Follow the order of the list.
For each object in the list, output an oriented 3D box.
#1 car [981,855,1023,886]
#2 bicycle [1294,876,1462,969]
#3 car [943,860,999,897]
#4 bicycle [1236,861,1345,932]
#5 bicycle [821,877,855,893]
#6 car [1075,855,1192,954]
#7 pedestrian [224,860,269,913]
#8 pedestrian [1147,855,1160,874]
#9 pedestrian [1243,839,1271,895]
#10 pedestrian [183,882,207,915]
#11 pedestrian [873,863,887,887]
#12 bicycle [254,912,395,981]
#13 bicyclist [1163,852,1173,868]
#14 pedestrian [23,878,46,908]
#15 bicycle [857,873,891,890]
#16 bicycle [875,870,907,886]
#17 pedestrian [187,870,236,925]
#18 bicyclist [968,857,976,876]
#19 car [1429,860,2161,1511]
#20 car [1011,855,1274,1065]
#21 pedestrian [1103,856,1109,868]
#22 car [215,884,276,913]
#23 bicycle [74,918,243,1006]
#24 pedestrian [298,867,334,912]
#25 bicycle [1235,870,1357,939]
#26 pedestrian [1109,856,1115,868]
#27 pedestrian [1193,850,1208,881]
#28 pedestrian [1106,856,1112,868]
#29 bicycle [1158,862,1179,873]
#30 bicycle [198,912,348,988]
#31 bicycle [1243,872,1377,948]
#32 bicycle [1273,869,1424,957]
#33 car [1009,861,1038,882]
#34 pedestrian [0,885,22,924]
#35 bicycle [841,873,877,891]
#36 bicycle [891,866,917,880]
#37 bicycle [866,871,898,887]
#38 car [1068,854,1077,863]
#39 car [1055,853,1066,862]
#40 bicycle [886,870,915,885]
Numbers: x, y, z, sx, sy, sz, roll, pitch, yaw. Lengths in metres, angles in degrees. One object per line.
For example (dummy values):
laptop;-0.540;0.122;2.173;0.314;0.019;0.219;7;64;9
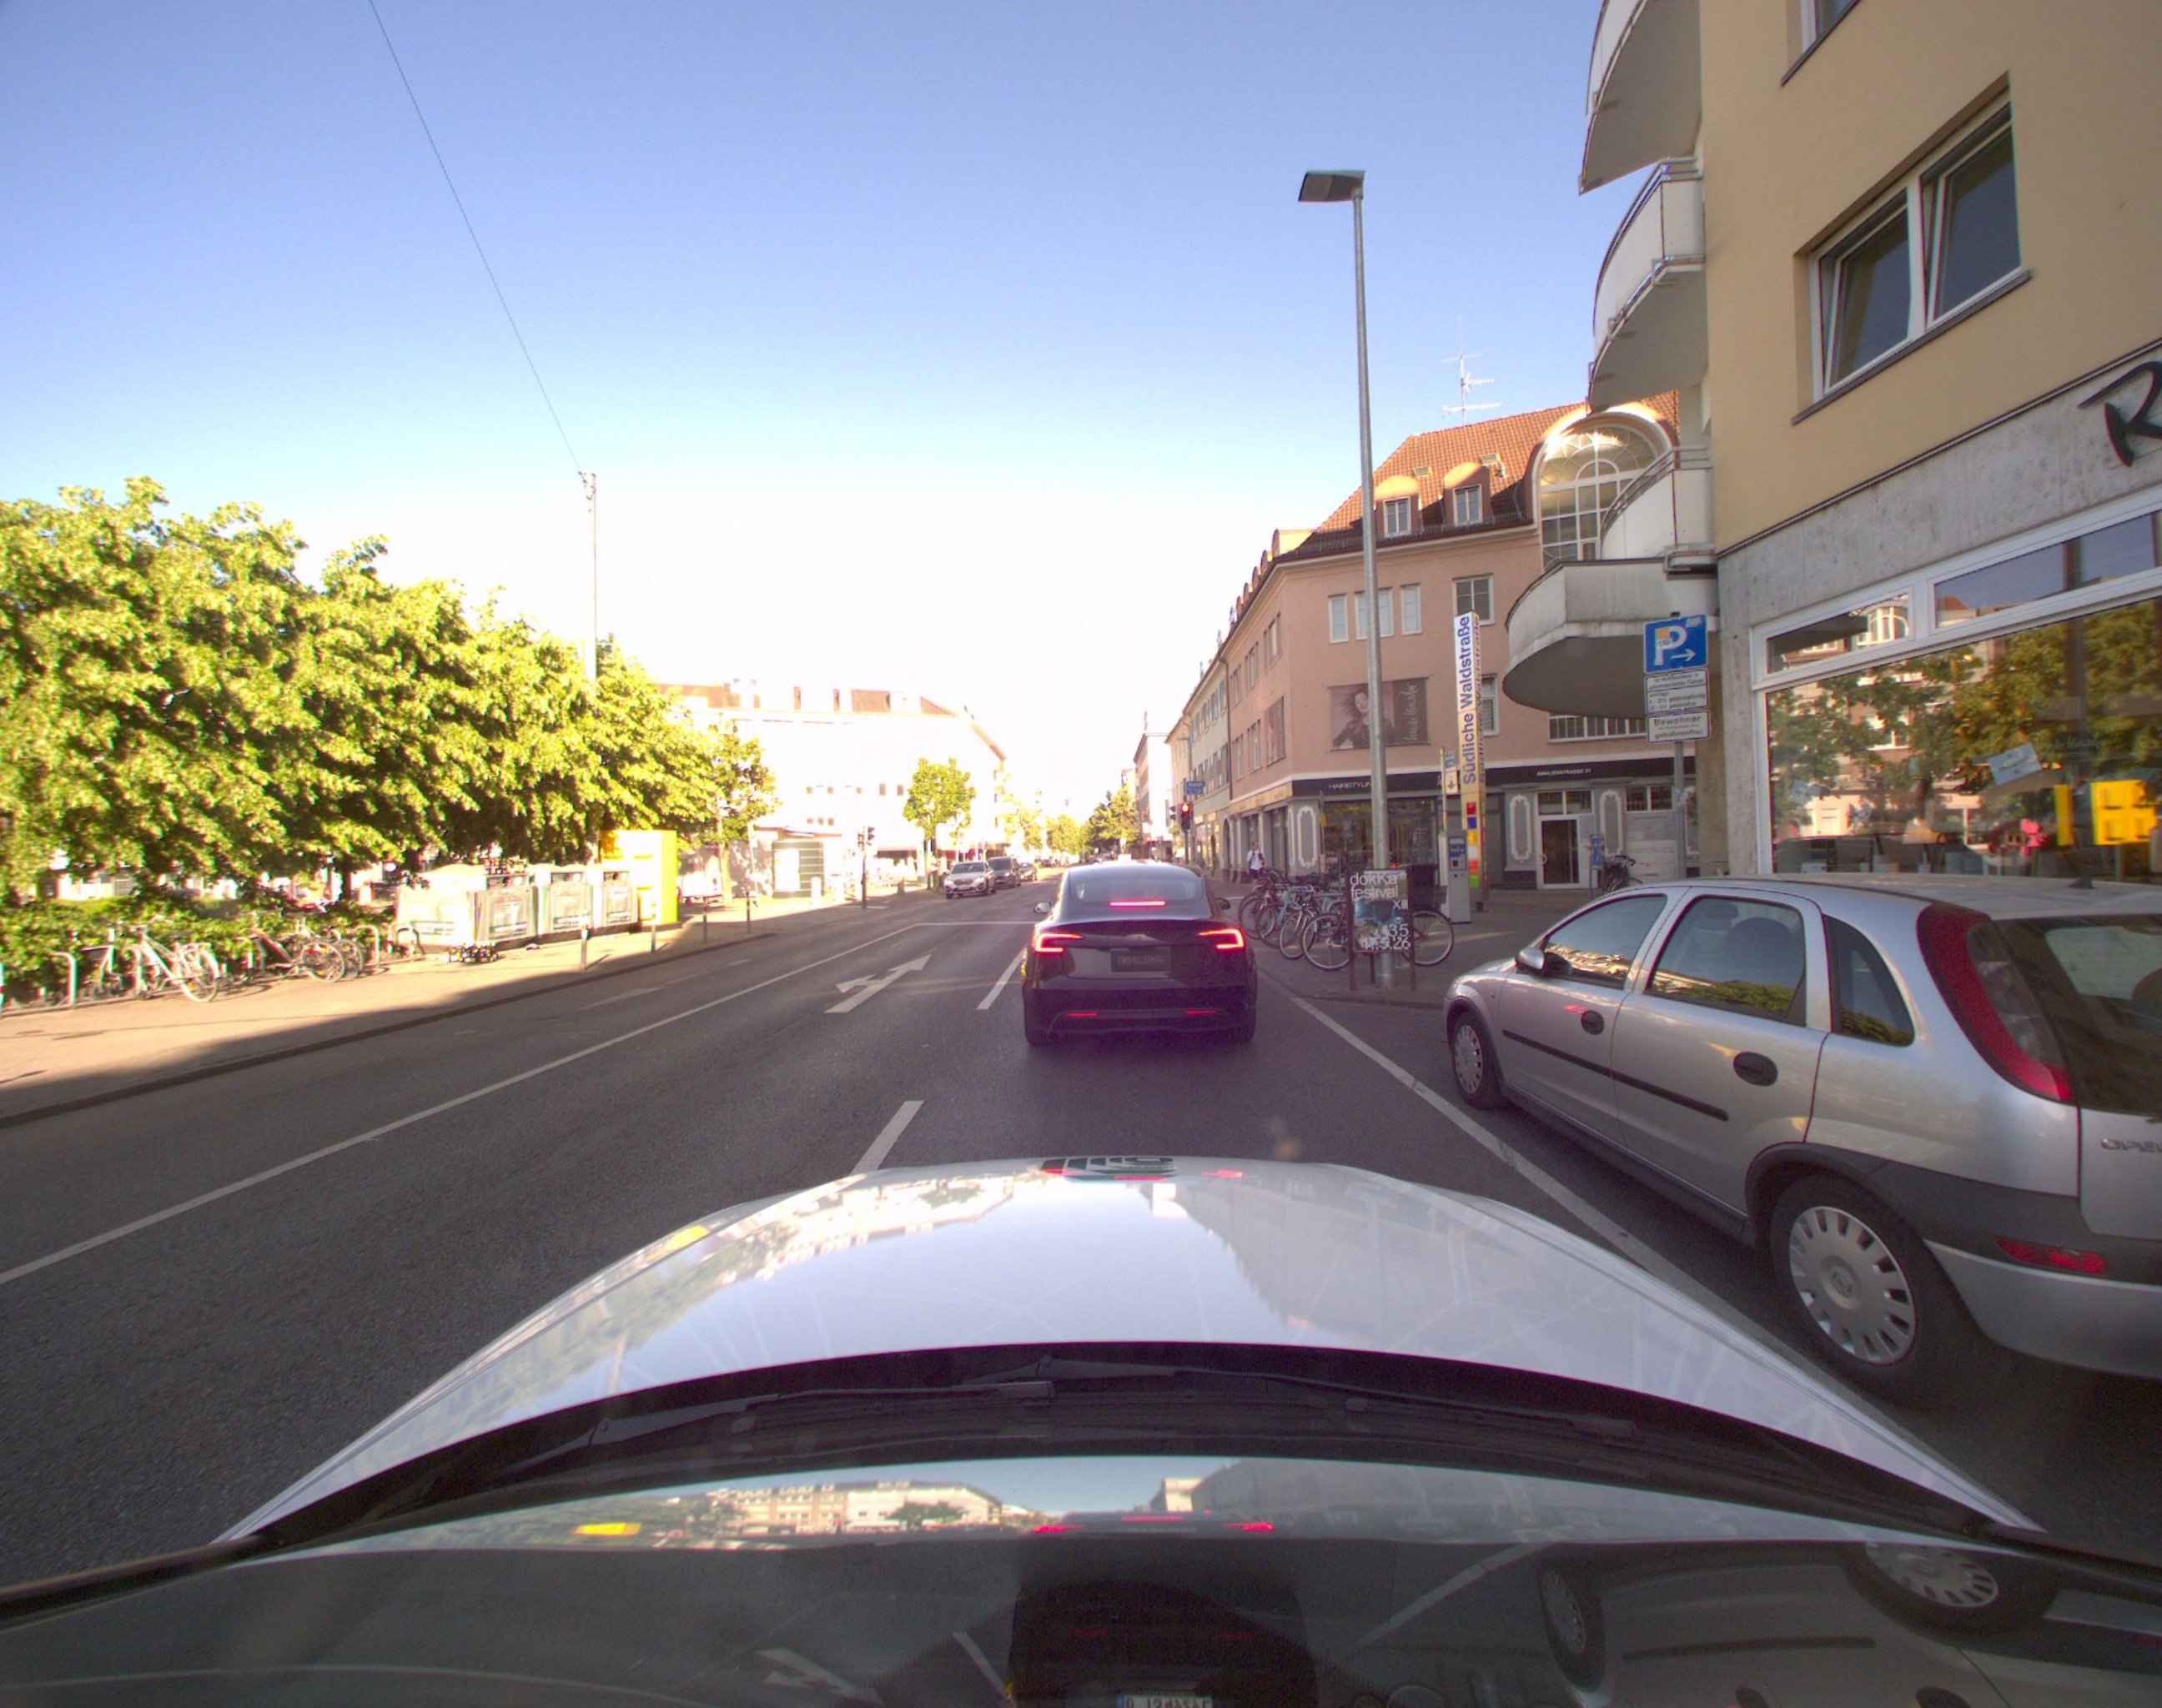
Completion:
car;-4.369;0.875;45.509;1.780;1.646;4.404;0;-1;2
bicycle;3.623;0.837;10.022;1.862;1.038;0.354;-3;-1;8
car;-4.856;1.046;36.387;1.782;1.460;3.759;-4;-1;2
bicycle;3.774;0.760;14.780;1.818;1.169;0.507;-3;-1;7
bicycle;-12.842;1.635;43.073;1.640;0.792;0.606;0;-1;-3
car;0.792;0.749;13.937;1.712;1.425;3.757;-1;0;0
pedestrian;-32.640;1.266;31.869;0.890;2.013;0.893;-1;0;15
pedestrian;6.180;0.877;69.286;0.756;1.631;0.951;0;-1;-16
pedestrian;5.737;0.424;26.615;0.747;1.765;0.838;-3;-1;6
pedestrian;-48.785;2.439;44.831;0.842;1.717;0.761;-2;-1;35
pedestrian;-17.164;1.794;69.496;1.060;2.014;1.049;0;-1;-18
bicycle;-11.324;1.372;12.194;1.888;0.955;0.518;-1;-1;11
bicyclist;7.620;0.496;71.346;0.670;1.395;0.460;0;-1;-14
pedestrian;-77.807;2.884;60.541;0.891;2.171;0.882;-1;-1;26
bicycle;-12.166;1.618;47.860;1.857;0.934;0.606;0;-1;0
bicycle;-12.271;1.546;52.575;1.857;0.934;0.606;-1;0;0
pedestrian;-32.530;1.621;30.475;0.890;2.013;0.893;-1;0;15
bicyclist;-8.867;1.003;66.449;0.525;1.503;0.473;0;-1;-22
car;2.953;0.739;3.505;1.540;1.390;3.479;-1;-1;3
car;0.495;0.761;7.719;1.815;1.442;4.001;-1;-1;2
pedestrian;2.946;0.900;94.924;0.474;1.417;0.517;0;-1;-29
car;-43.636;2.309;42.535;3.526;1.386;1.703;-1;0;36
bicycle;-11.626;1.340;10.270;1.919;1.015;0.518;-1;-1;12
pedestrian;-29.469;1.347;31.374;0.754;1.698;0.793;-1;0;25
bicycle;3.577;0.840;13.664;1.863;1.038;0.548;-3;-1;7
pedestrian;3.621;0.890;94.793;0.524;1.422;0.475;0;-1;-28
pedestrian;6.656;0.635;45.377;0.704;1.742;0.540;-1;0;1
pedestrian;3.183;0.924;94.072;0.524;1.422;0.475;0;-1;-28
bicycle;7.661;1.180;71.340;1.787;1.007;0.469;0;-1;-15
bicycle;-11.532;1.348;11.629;1.913;1.003;0.518;-1;-1;11
bicycle;3.488;0.851;12.486;1.864;1.038;0.534;-3;-1;5
bicycle;3.647;0.806;11.187;1.864;1.087;0.415;-3;-1;5
car;-4.051;1.231;57.869;1.709;1.446;3.846;0;-1;2
pedestrian;-57.029;2.665;43.065;1.145;2.014;1.040;-1;-1;26
bicycle;-12.438;1.570;45.644;1.857;0.934;0.606;-1;-1;0
bicycle;-17.083;1.821;78.482;2.373;1.296;0.509;0;-1;-25
bicycle;-12.291;1.550;50.339;1.857;0.934;0.606;0;-1;0
car;-1.926;0.927;187.468;1.986;2.013;4.001;-1;0;2
car;-3.588;0.577;143.332;1.701;1.552;3.696;-1;0;0
bicycle;-12.191;1.565;55.023;1.857;0.934;0.606;-1;0;0
